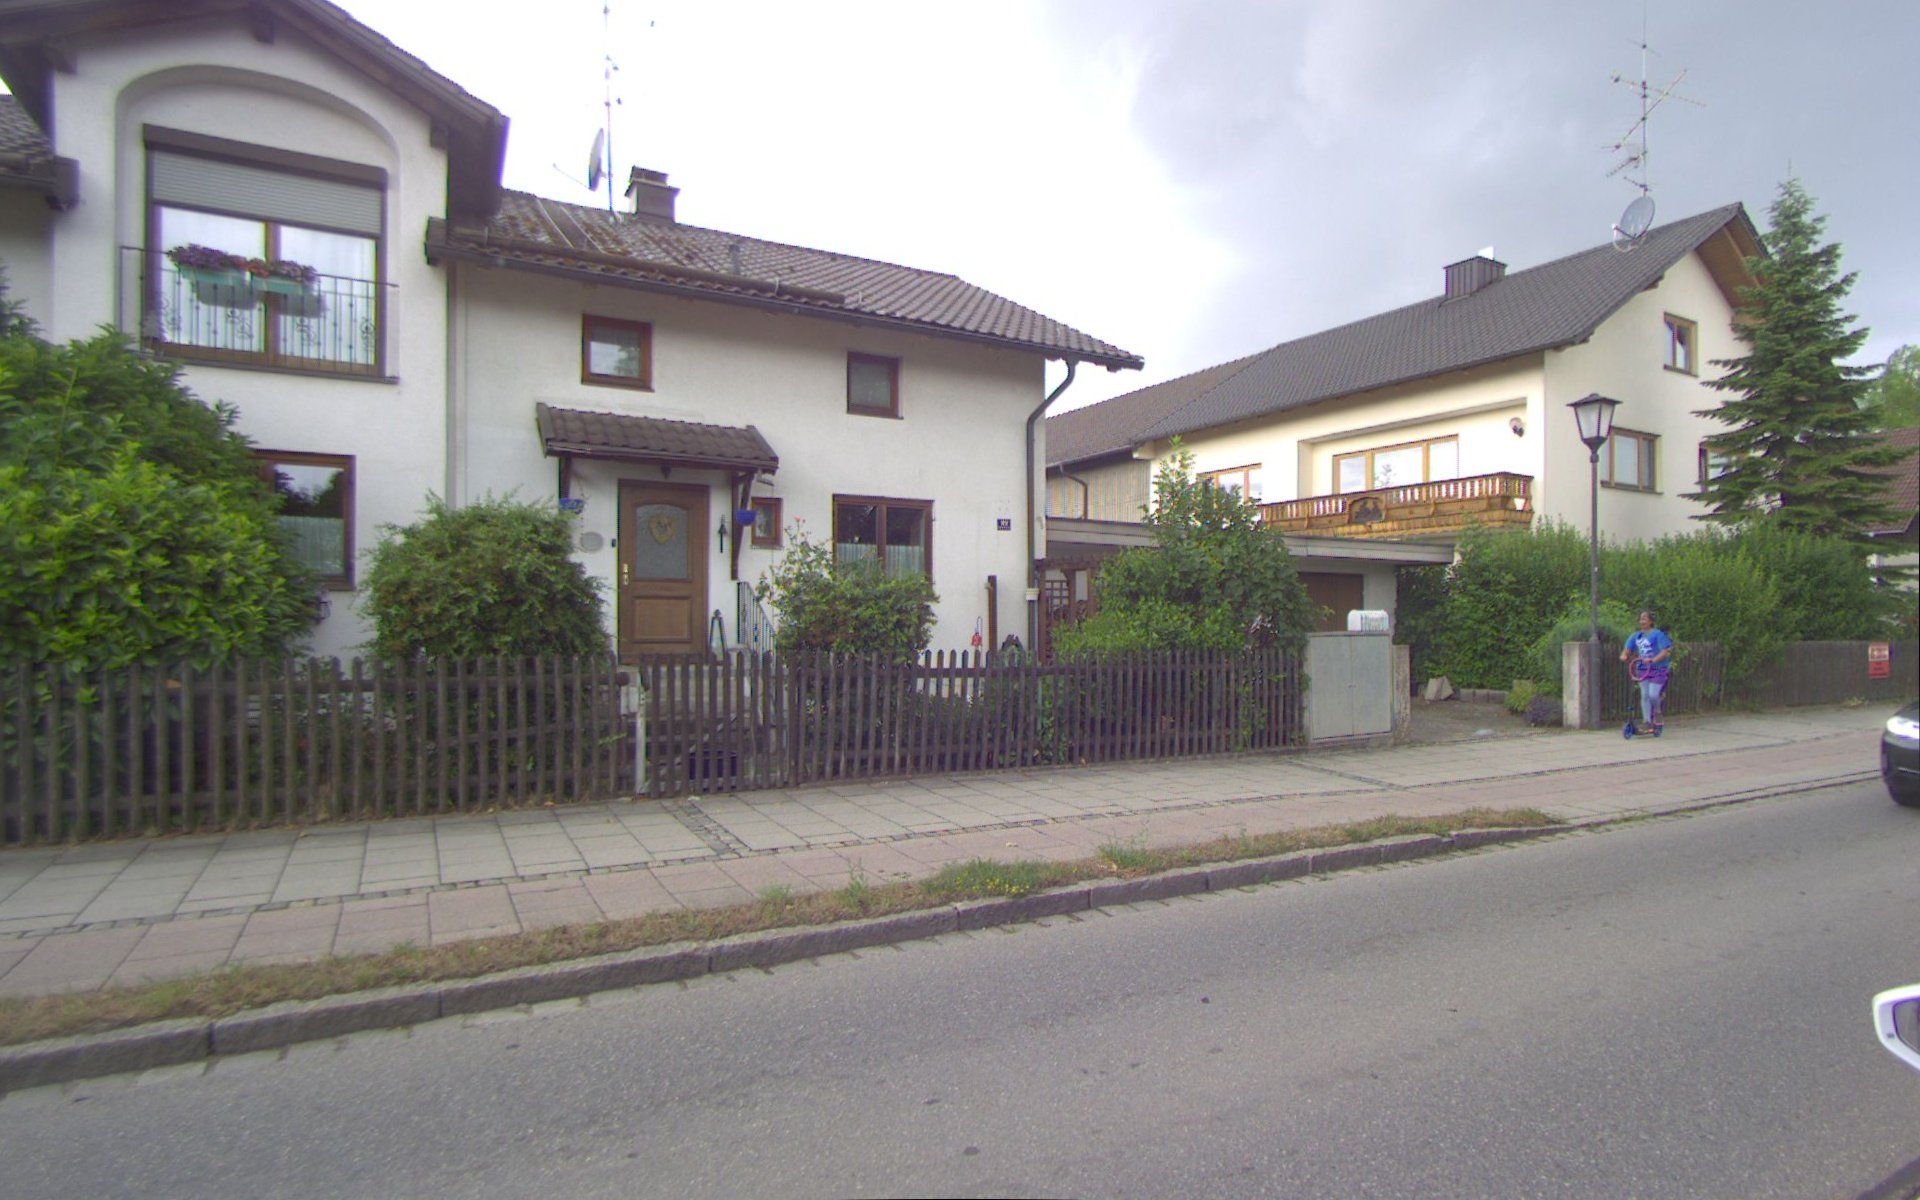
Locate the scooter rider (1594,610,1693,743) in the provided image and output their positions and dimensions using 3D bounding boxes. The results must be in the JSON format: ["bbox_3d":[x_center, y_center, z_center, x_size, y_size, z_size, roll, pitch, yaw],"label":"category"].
[{"bbox_3d":[8.377,0.913,12.317,0.791,1.545,0.689,1,2,-31],"label":"scooter rider"}]

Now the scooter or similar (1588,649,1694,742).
[{"bbox_3d":[8.315,1.145,12.266,1.165,1.051,0.658,1,-1,-31],"label":"scooter or similar"}]

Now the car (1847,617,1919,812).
[{"bbox_3d":[9.487,0.930,8.346,4.495,1.473,1.837,1,0,-30],"label":"car"}]
